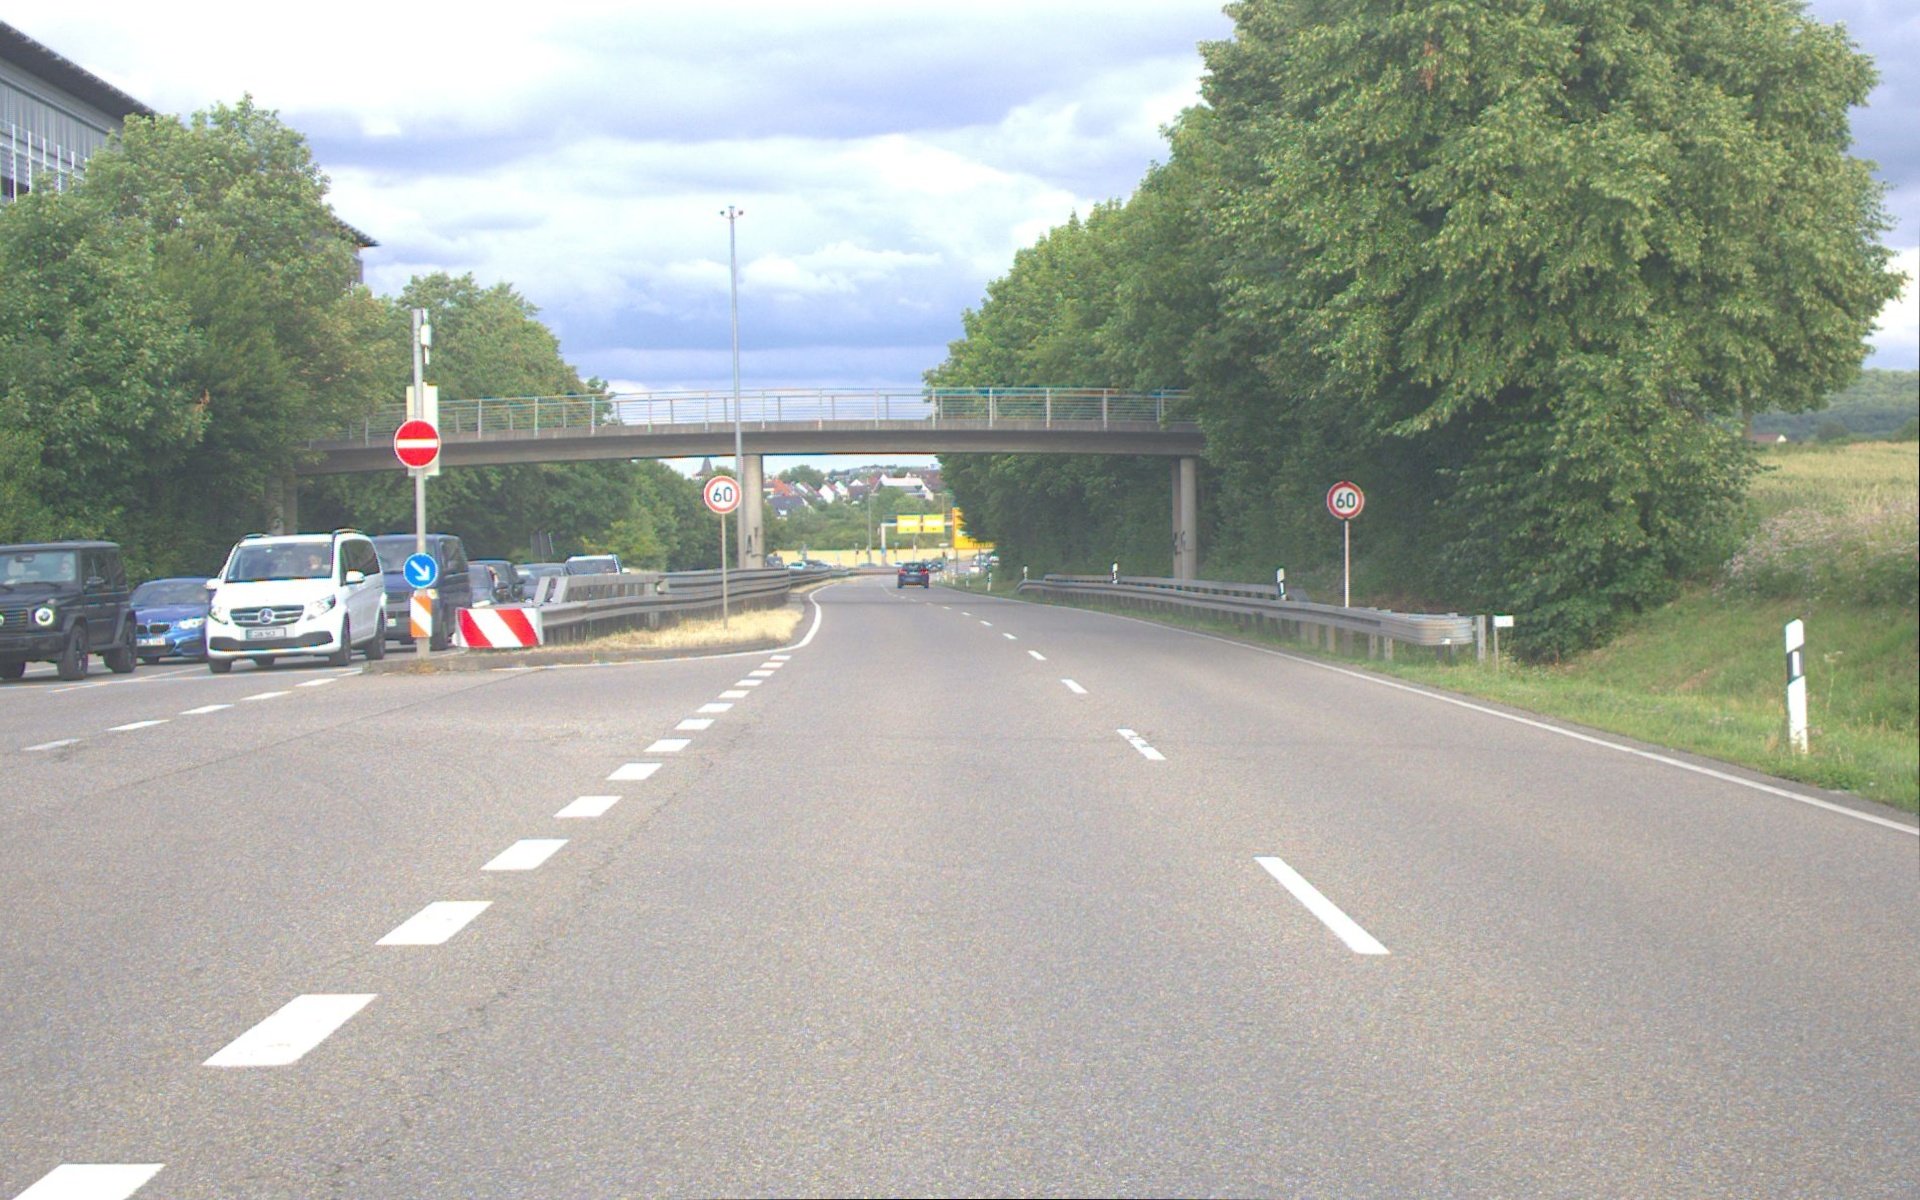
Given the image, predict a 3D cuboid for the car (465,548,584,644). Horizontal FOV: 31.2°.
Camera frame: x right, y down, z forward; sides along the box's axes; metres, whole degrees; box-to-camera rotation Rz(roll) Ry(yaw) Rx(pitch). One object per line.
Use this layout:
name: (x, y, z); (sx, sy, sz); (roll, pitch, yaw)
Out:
car: (-9.541, -0.111, 75.631); (2.083, 2.007, 5.217); (1, 0, -2)

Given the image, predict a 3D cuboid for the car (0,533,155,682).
car: (-13.116, 0.065, 49.238); (2.083, 2.007, 5.217); (1, 0, -2)

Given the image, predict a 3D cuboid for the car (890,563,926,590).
car: (-3.062, -1.364, 201.168); (1.879, 1.547, 4.001); (1, 0, -4)

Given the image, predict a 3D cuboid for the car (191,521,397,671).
car: (-9.482, -0.082, 49.348); (2.083, 2.007, 5.217); (1, 0, -2)

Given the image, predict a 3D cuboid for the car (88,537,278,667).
car: (-12.748, 0.003, 56.739); (2.083, 2.007, 5.217); (1, 0, -2)

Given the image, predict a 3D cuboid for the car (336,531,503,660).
car: (-8.904, -0.099, 57.085); (2.083, 2.007, 5.217); (1, 0, -2)
